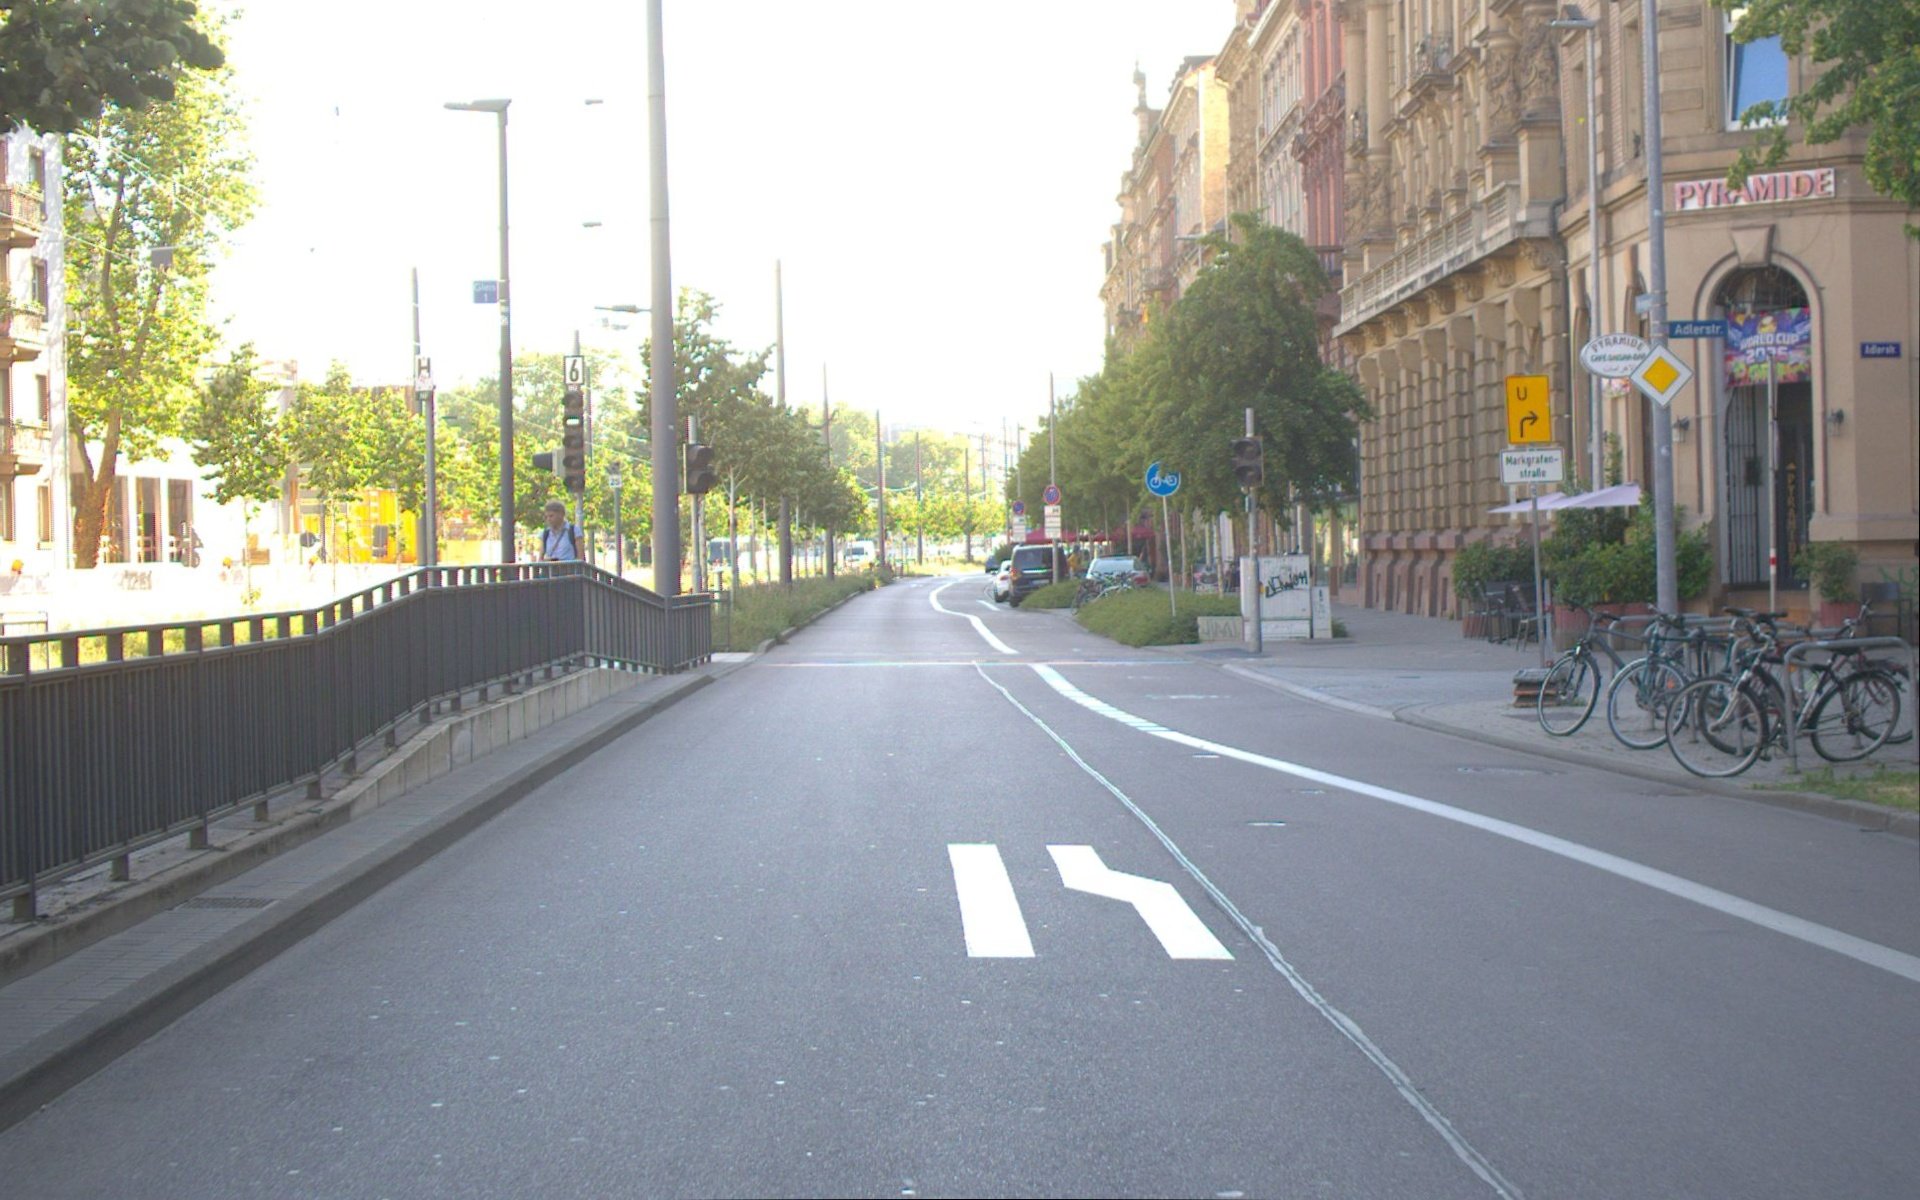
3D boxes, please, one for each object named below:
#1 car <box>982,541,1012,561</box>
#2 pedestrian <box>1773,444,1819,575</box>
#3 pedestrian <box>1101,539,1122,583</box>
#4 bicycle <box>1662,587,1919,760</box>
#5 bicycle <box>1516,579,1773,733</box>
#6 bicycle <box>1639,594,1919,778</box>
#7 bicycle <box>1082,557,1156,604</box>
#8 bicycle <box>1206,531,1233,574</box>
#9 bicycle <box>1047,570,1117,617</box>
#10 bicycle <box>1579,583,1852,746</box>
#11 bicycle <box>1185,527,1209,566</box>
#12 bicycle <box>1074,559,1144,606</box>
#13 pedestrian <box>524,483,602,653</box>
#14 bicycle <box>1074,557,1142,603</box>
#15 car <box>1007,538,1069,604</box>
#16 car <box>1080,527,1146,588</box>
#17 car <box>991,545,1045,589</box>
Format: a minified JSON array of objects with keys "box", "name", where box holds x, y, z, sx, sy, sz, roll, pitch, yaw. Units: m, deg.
[{"box":[2.774,-3.644,255.882,1.798,1.459,3.999,-2,1,6],"name":"car"},{"box":[11.184,-1.205,45.996,0.447,1.734,0.542,-1,1,27],"name":"pedestrian"},{"box":[4.999,-1.290,113.563,0.625,1.455,0.638,-1,1,-1],"name":"pedestrian"},{"box":[6.020,0.510,24.464,1.825,1.061,0.664,-4,2,-5],"name":"bicycle"},{"box":[5.433,0.435,27.319,1.825,1.061,0.664,-4,2,-5],"name":"bicycle"},{"box":[5.582,0.567,23.090,1.825,1.061,0.664,-4,2,-5],"name":"bicycle"},{"box":[3.918,-0.482,84.747,1.691,1.044,0.489,-3,1,-8],"name":"bicycle"},{"box":[8.784,-1.621,116.335,0.661,1.397,2.352,-2,2,-1],"name":"bicycle"},{"box":[3.108,-0.164,87.860,1.691,1.044,0.489,-5,1,0],"name":"bicycle"},{"box":[5.674,0.476,25.847,1.825,1.061,0.664,-4,2,-5],"name":"bicycle"},{"box":[8.805,-1.988,127.710,0.661,1.397,2.352,-2,2,-1],"name":"bicycle"},{"box":[3.615,-0.432,83.456,1.576,1.044,0.489,-3,1,-8],"name":"bicycle"},{"box":[-3.904,-0.311,33.860,0.655,1.637,0.867,-1,0,-1],"name":"pedestrian"},{"box":[3.676,-0.493,85.283,1.576,1.044,0.489,-3,1,-8],"name":"bicycle"},{"box":[2.475,-0.942,109.874,1.885,1.930,4.473,-2,2,1],"name":"car"},{"box":[4.135,-1.165,93.290,1.637,1.481,4.212,-3,2,2],"name":"car"},{"box":[2.072,-1.194,123.110,1.849,1.452,4.156,-2,2,1],"name":"car"}]
